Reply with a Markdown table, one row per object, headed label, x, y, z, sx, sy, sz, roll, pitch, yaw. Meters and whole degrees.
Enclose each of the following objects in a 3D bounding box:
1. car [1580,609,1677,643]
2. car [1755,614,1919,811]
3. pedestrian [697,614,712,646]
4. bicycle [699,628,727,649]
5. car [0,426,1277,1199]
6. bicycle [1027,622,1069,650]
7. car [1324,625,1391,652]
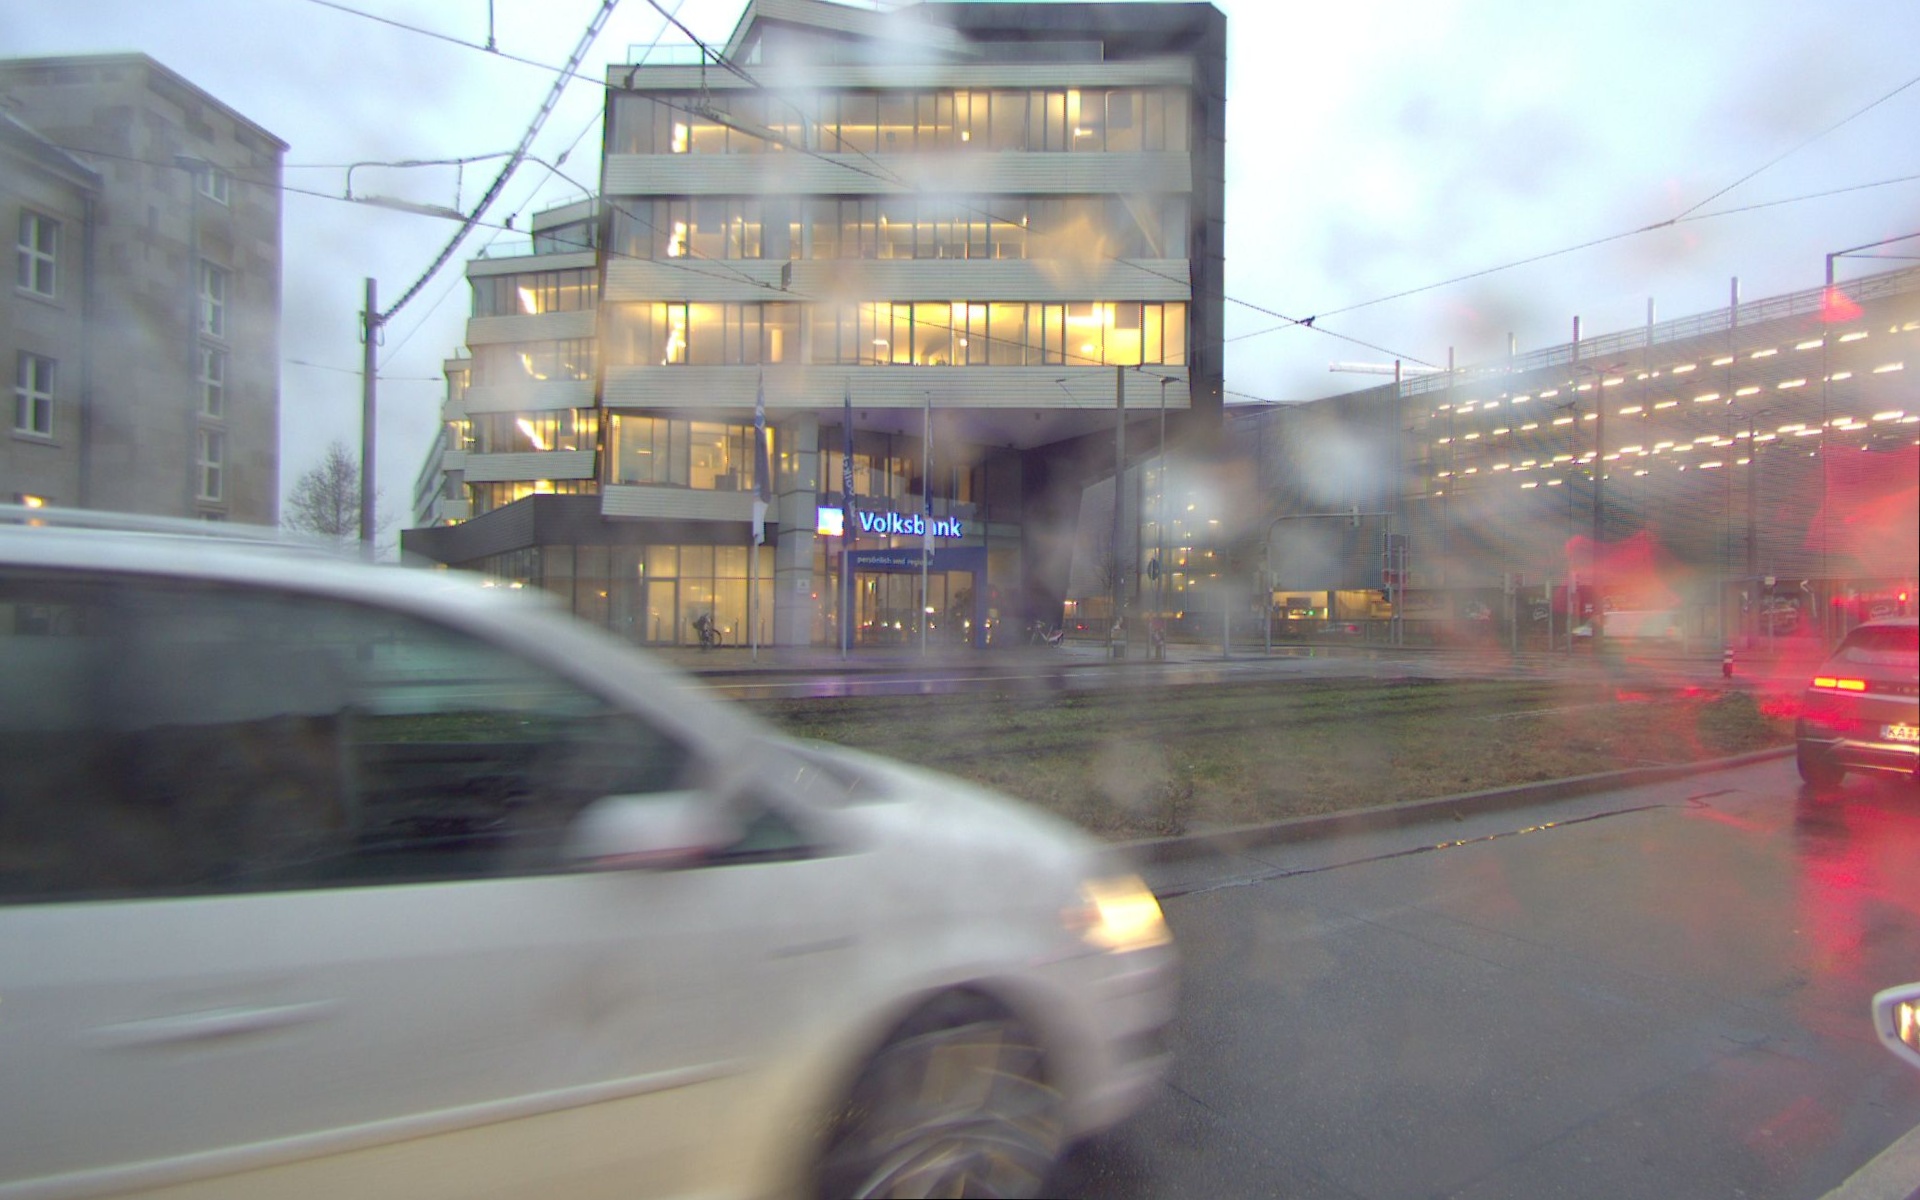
| label | x | y | z | sx | sy | sz | roll | pitch | yaw |
| --- | --- | --- | --- | --- | --- | --- | --- | --- | --- |
| car | 41.799 | 1.615 | 62.916 | 1.782 | 2.027 | 4.806 | 1 | -1 | -36 |
| car | 9.295 | 0.955 | 9.467 | 3.959 | 1.595 | 1.742 | 1 | -1 | -34 |
| pedestrian | -8.740 | 1.018 | 34.345 | 0.380 | 1.103 | 0.325 | 0 | -1 | 5 |
| bicycle | -8.626 | 1.355 | 35.072 | 0.896 | 0.724 | 0.483 | 1 | -1 | -10 |
| car | -1.417 | 0.577 | 2.335 | 4.094 | 1.682 | 1.664 | 1 | 1 | -27 |
| bicycle | 3.518 | 1.446 | 40.115 | 1.588 | 1.105 | 0.553 | 1 | -1 | -23 |
| car | 31.397 | 3.006 | 79.433 | 1.782 | 2.027 | 4.806 | 1 | -1 | -36 |
